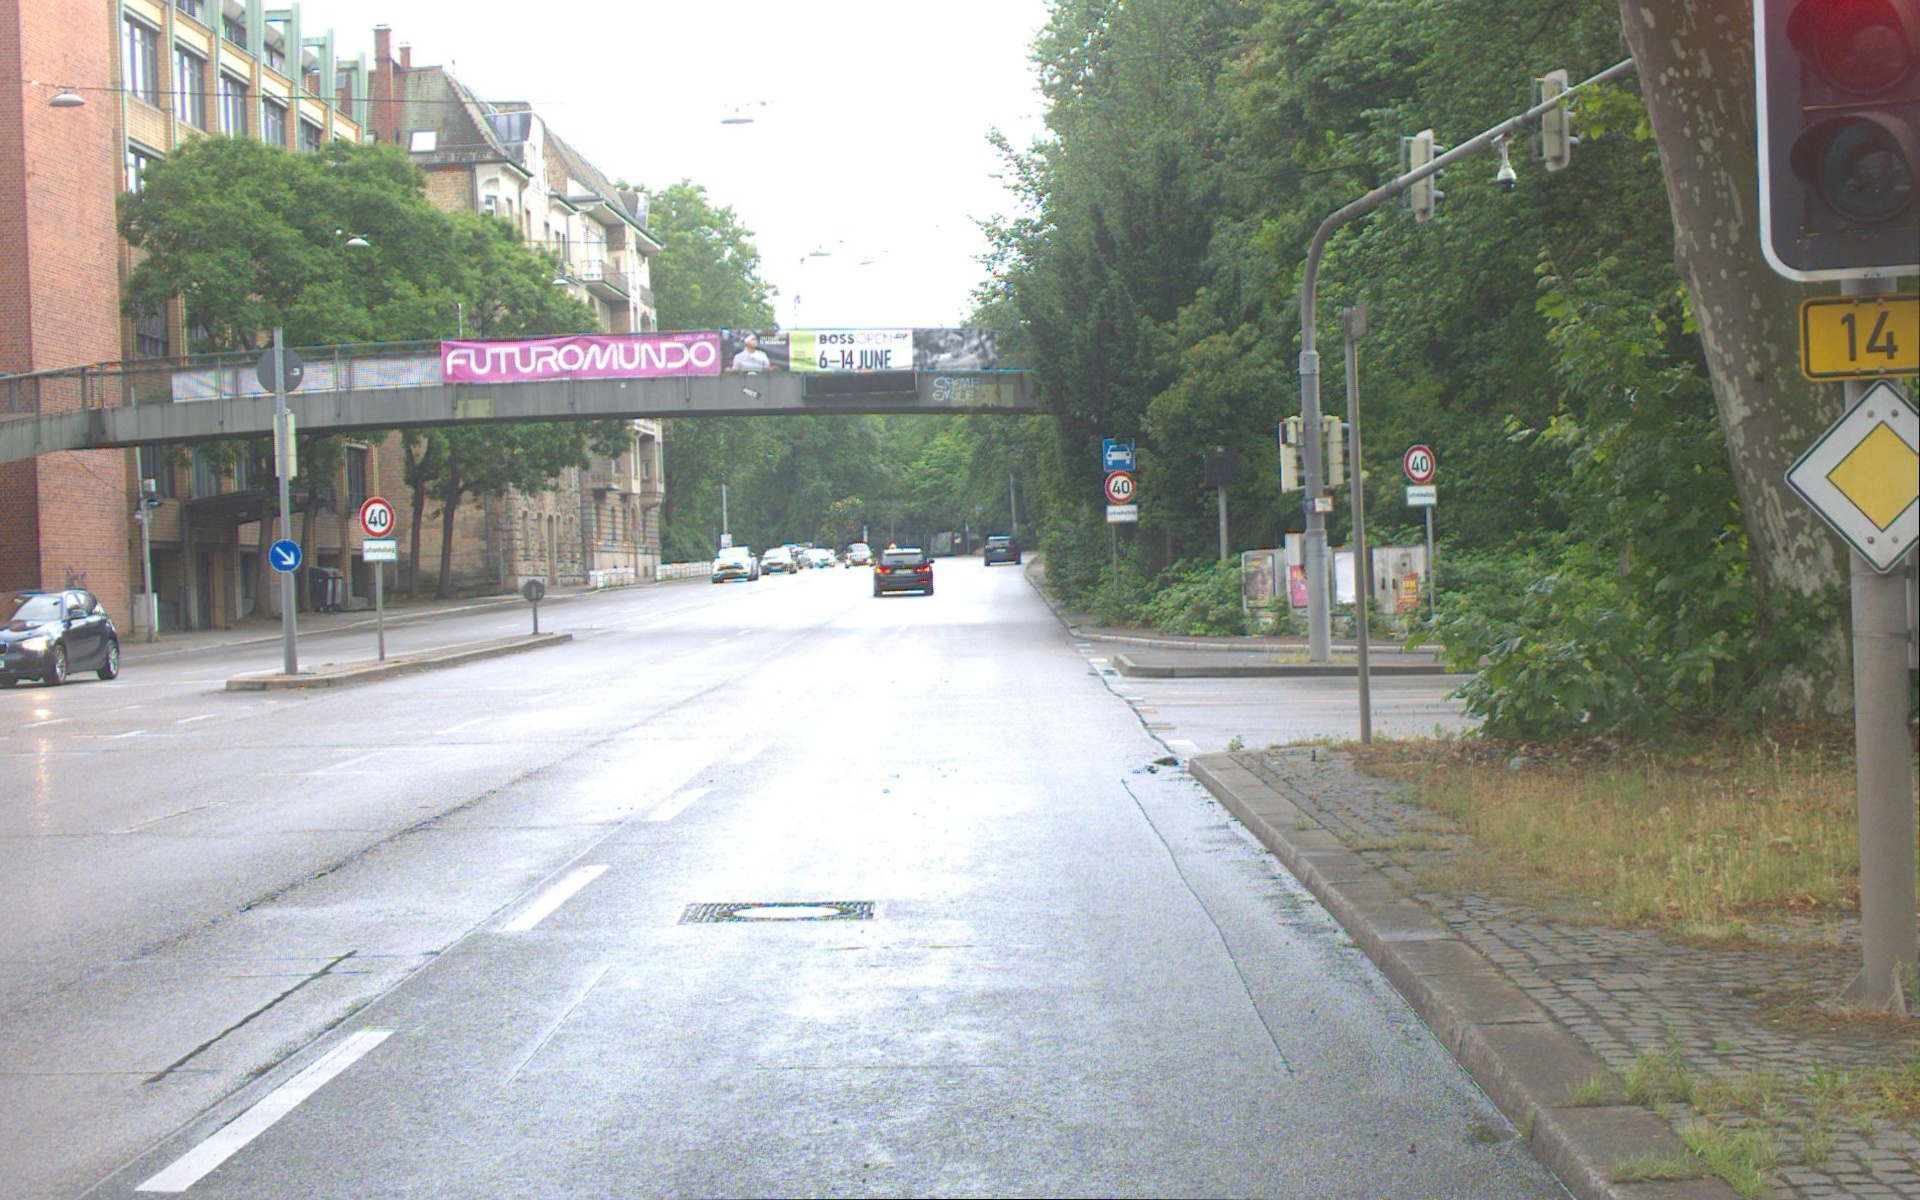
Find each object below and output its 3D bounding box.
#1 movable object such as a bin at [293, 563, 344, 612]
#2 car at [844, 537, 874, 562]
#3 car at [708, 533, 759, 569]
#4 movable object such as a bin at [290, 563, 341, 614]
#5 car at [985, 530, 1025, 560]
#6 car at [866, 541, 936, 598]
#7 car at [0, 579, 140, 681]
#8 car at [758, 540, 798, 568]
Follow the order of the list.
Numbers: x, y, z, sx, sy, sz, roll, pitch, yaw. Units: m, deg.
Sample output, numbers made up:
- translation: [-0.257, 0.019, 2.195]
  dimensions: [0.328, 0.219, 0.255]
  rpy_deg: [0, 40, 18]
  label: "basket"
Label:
- translation: [-20.236, -0.401, 108.459]
  dimensions: [1.299, 1.513, 1.214]
  rpy_deg: [-1, 1, 1]
  label: "movable object such as a bin"
- translation: [-6.150, -3.093, 209.563]
  dimensions: [1.683, 1.431, 3.862]
  rpy_deg: [-2, 0, 0]
  label: "car"
- translation: [-10.515, -2.282, 159.588]
  dimensions: [1.890, 1.604, 4.456]
  rpy_deg: [-1, 0, 2]
  label: "car"
- translation: [-20.086, -0.362, 107.130]
  dimensions: [1.282, 1.513, 1.273]
  rpy_deg: [-1, 1, 1]
  label: "movable object such as a bin"
- translation: [2.234, -2.722, 171.320]
  dimensions: [1.842, 1.448, 3.777]
  rpy_deg: [1, 1, -1]
  label: "car"
- translation: [-1.817, -0.930, 104.858]
  dimensions: [2.004, 1.638, 4.376]
  rpy_deg: [-2, 1, -2]
  label: "car"
- translation: [-13.656, 0.452, 50.943]
  dimensions: [1.686, 1.414, 4.214]
  rpy_deg: [-2, 0, 4]
  label: "car"
- translation: [-9.823, -2.483, 185.757]
  dimensions: [1.709, 1.459, 4.041]
  rpy_deg: [-2, 0, 3]
  label: "car"
